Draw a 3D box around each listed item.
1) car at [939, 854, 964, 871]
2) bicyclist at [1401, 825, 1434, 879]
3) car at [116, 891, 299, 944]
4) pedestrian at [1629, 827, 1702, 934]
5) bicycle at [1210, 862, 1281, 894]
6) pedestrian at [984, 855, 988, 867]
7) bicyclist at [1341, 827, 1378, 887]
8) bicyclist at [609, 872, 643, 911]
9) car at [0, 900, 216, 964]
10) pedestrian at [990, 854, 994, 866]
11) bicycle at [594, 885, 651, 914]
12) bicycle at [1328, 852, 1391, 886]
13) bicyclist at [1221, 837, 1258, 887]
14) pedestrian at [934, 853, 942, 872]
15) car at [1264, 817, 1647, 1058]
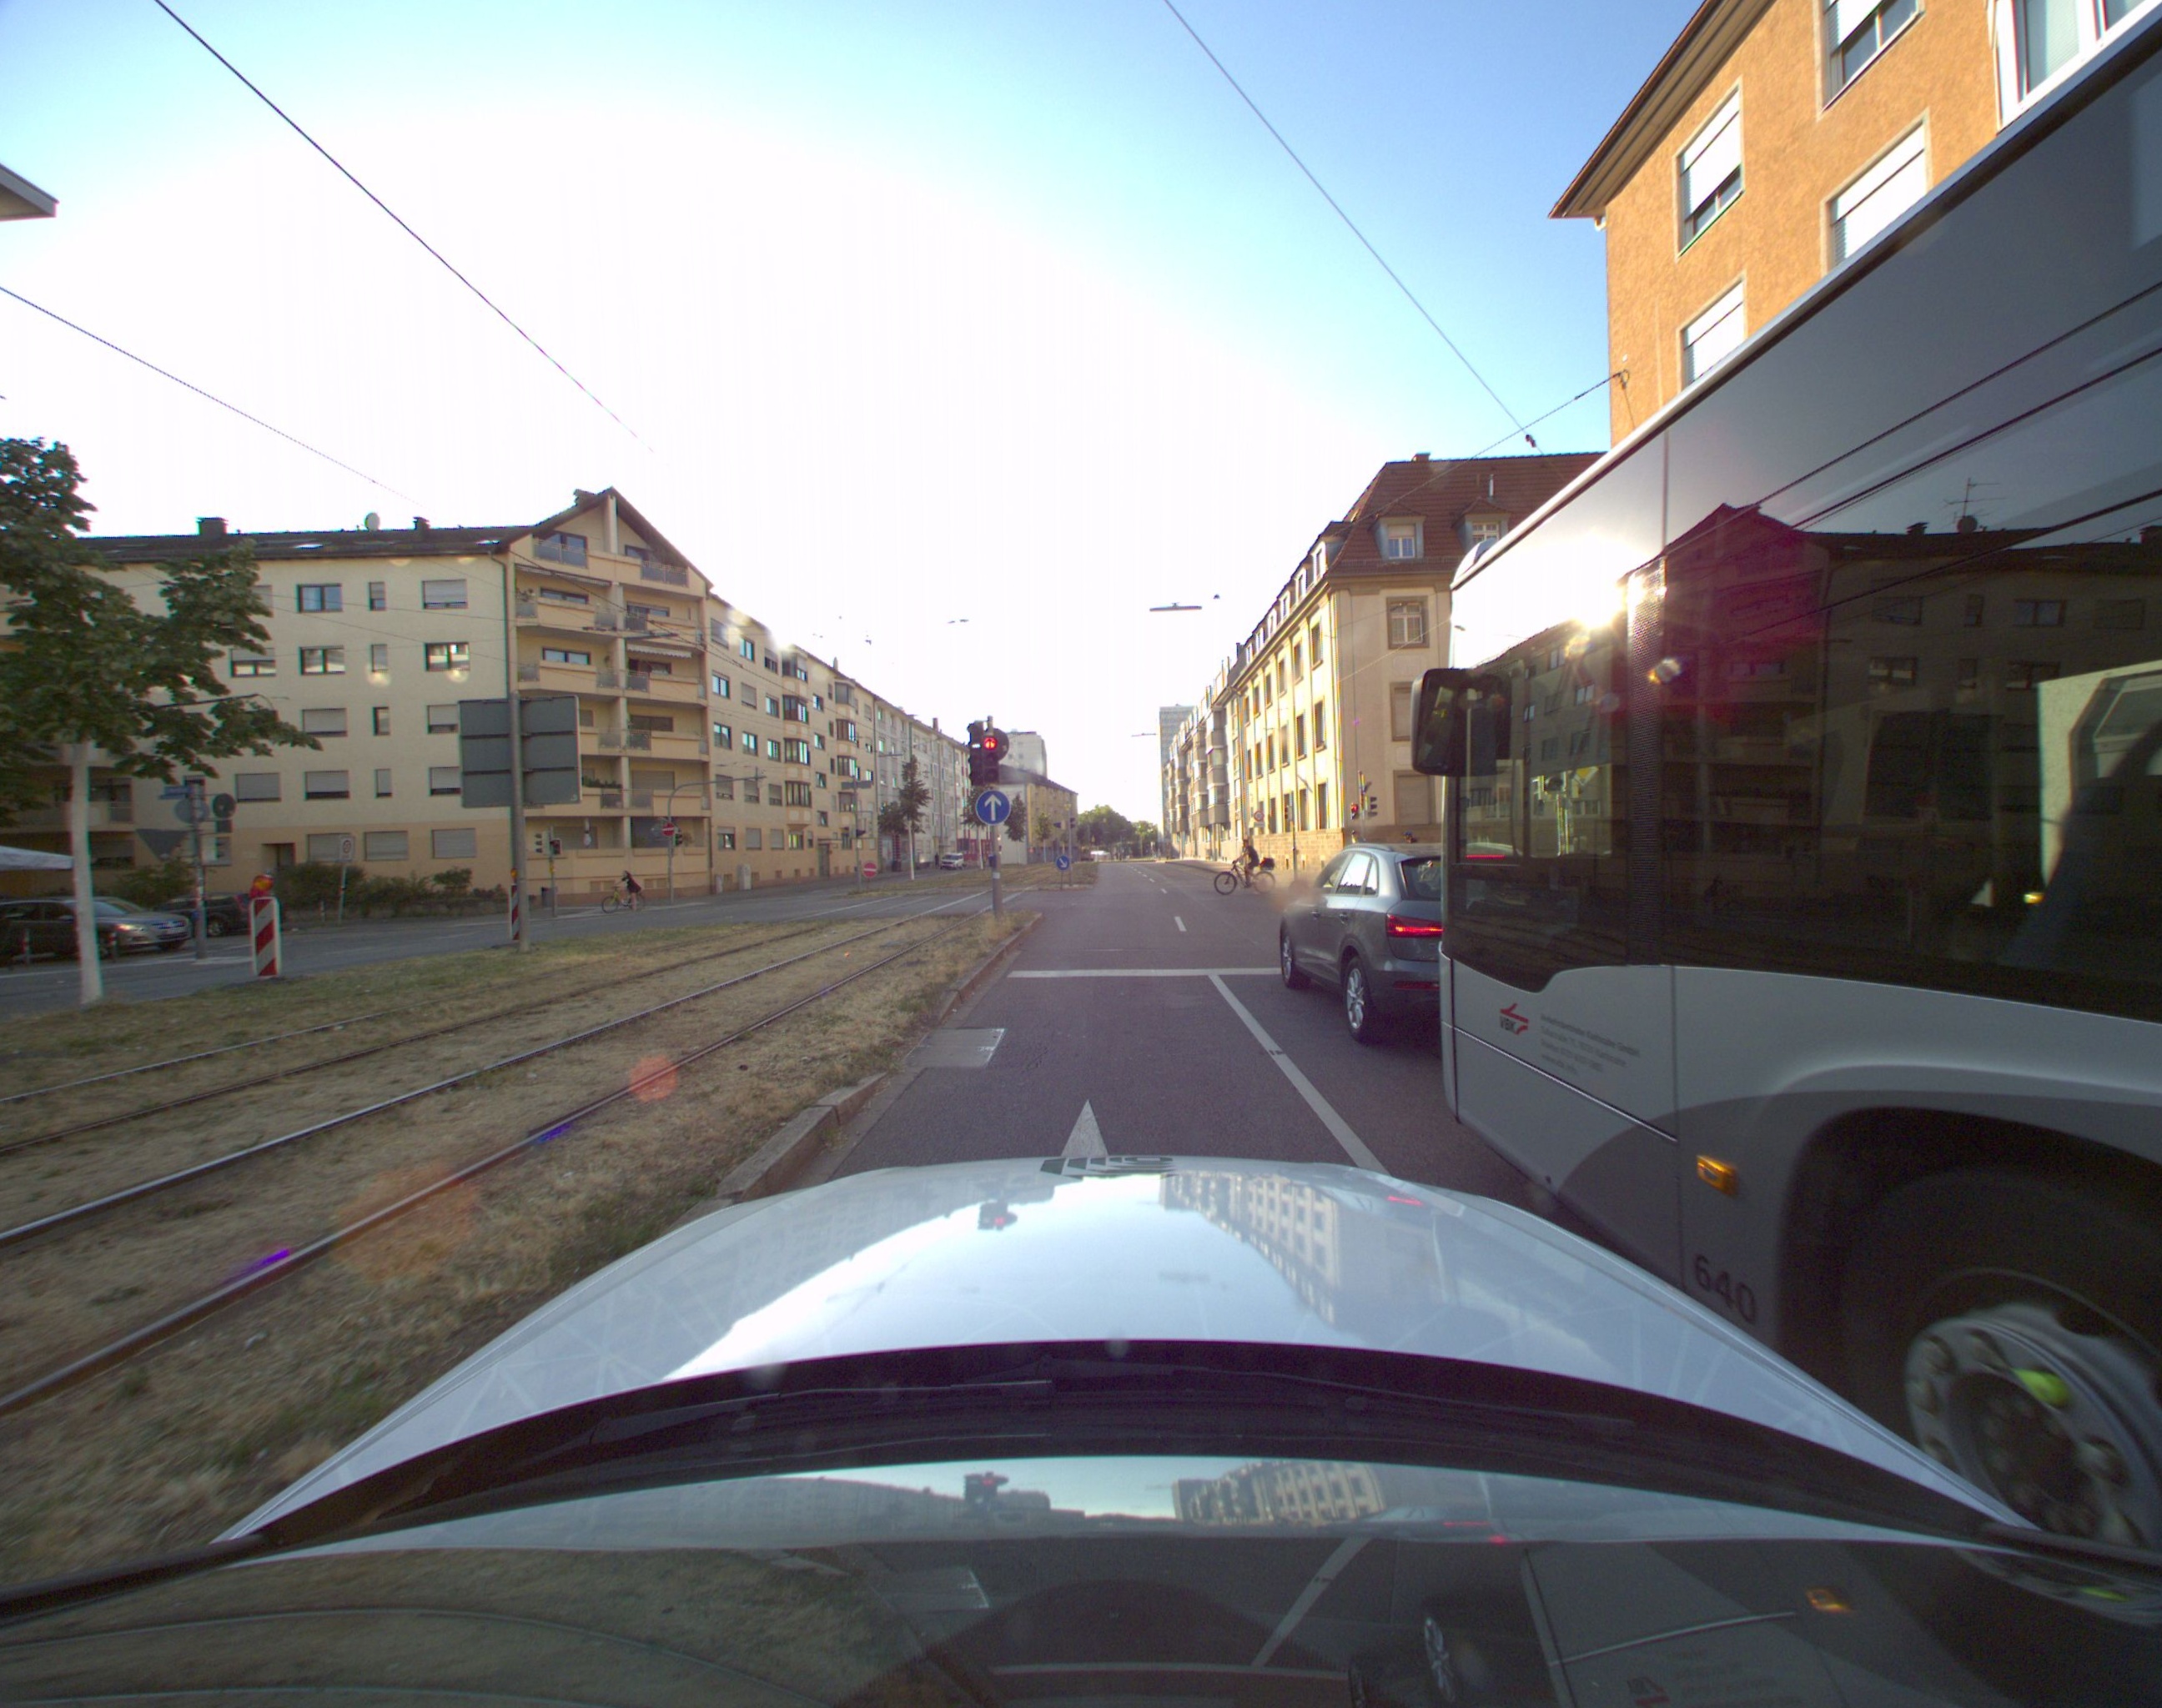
[{"bbox_3d":[-13.981,0.891,87.875,1.804,1.798,4.248,0,-1,3],"label":"car"},{"bbox_3d":[11.247,-0.064,27.256,0.791,1.753,0.720,0,-1,0],"label":"bicyclist"},{"bbox_3d":[-29.823,2.140,27.923,3.956,1.440,1.785,-3,0,-9],"label":"car"},{"bbox_3d":[8.682,0.385,12.122,0.438,1.525,0.831,-2,0,2],"label":"pedestrian"},{"bbox_3d":[5.121,0.736,25.373,1.977,0.894,0.784,-3,-1,-8],"label":"bicycle"},{"bbox_3d":[-13.105,0.920,112.571,0.493,1.658,0.409,-2,0,2],"label":"pedestrian"},{"bbox_3d":[9.540,0.099,27.908,0.957,1.988,0.672,-2,0,-1],"label":"bicyclist"},{"bbox_3d":[-17.819,1.451,31.897,0.522,1.447,0.971,-3,0,32],"label":"bicyclist"},{"bbox_3d":[-26.391,2.071,21.849,4.106,1.388,1.761,-2,0,-9],"label":"car"},{"bbox_3d":[-12.342,0.888,112.845,0.493,1.658,0.409,-2,0,2],"label":"pedestrian"},{"bbox_3d":[-17.867,1.755,31.800,0.522,0.984,1.895,-2,0,32],"label":"bicycle"},{"bbox_3d":[9.542,0.511,27.900,1.938,1.094,0.575,-1,0,-1],"label":"bicycle"},{"bbox_3d":[4.937,0.248,25.419,0.902,1.526,0.646,-2,0,-8],"label":"bicyclist"},{"bbox_3d":[-15.821,0.954,90.115,0.784,2.013,0.890,-2,0,-2],"label":"pedestrian"},{"bbox_3d":[3.011,0.564,7.600,1.763,1.575,4.087,-2,0,2],"label":"car"}]
